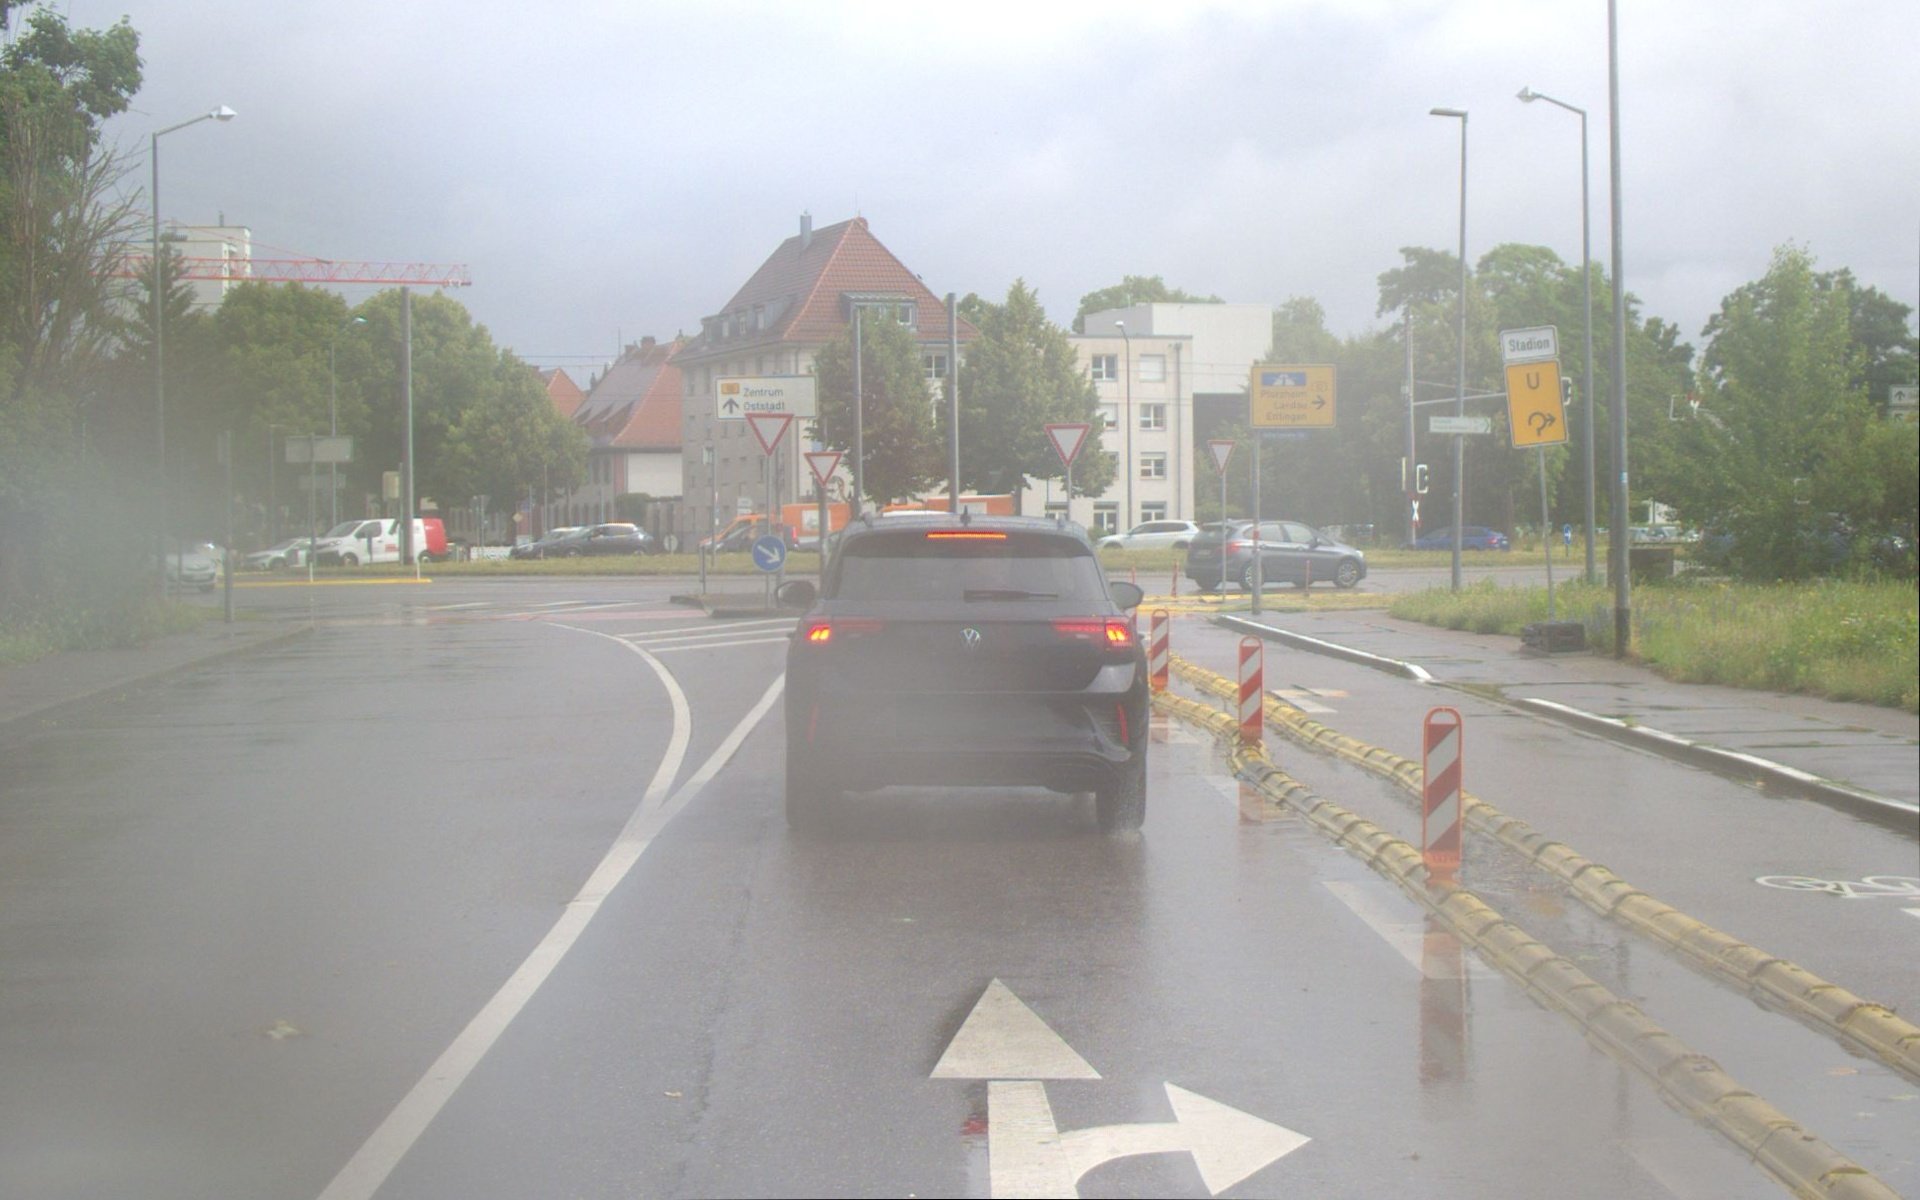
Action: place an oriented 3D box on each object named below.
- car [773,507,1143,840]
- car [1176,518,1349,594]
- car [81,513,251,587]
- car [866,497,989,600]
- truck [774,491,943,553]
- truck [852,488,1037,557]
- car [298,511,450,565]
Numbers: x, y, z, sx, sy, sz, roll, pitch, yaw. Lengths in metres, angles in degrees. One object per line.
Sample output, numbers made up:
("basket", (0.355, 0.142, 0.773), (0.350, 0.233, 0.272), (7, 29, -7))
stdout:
("car", (-0.109, 0.321, 18.127), (1.708, 1.568, 3.683), (1, 1, -4))
("car", (6.770, -1.007, 76.798), (3.944, 1.639, 1.670), (-1, 2, -44))
("car", (-20.134, -1.270, 87.161), (3.995, 1.824, 1.996), (0, 1, 34))
("car", (-0.558, -0.959, 62.671), (1.864, 1.803, 4.403), (0, 1, 4))
("truck", (-4.170, -3.174, 140.475), (6.701, 2.434, 2.435), (-1, 1, -6))
("truck", (-0.566, -2.973, 132.246), (7.066, 2.641, 2.330), (0, 1, 1))
("car", (-20.873, -2.220, 122.565), (5.119, 1.870, 1.893), (-2, 2, -44))
